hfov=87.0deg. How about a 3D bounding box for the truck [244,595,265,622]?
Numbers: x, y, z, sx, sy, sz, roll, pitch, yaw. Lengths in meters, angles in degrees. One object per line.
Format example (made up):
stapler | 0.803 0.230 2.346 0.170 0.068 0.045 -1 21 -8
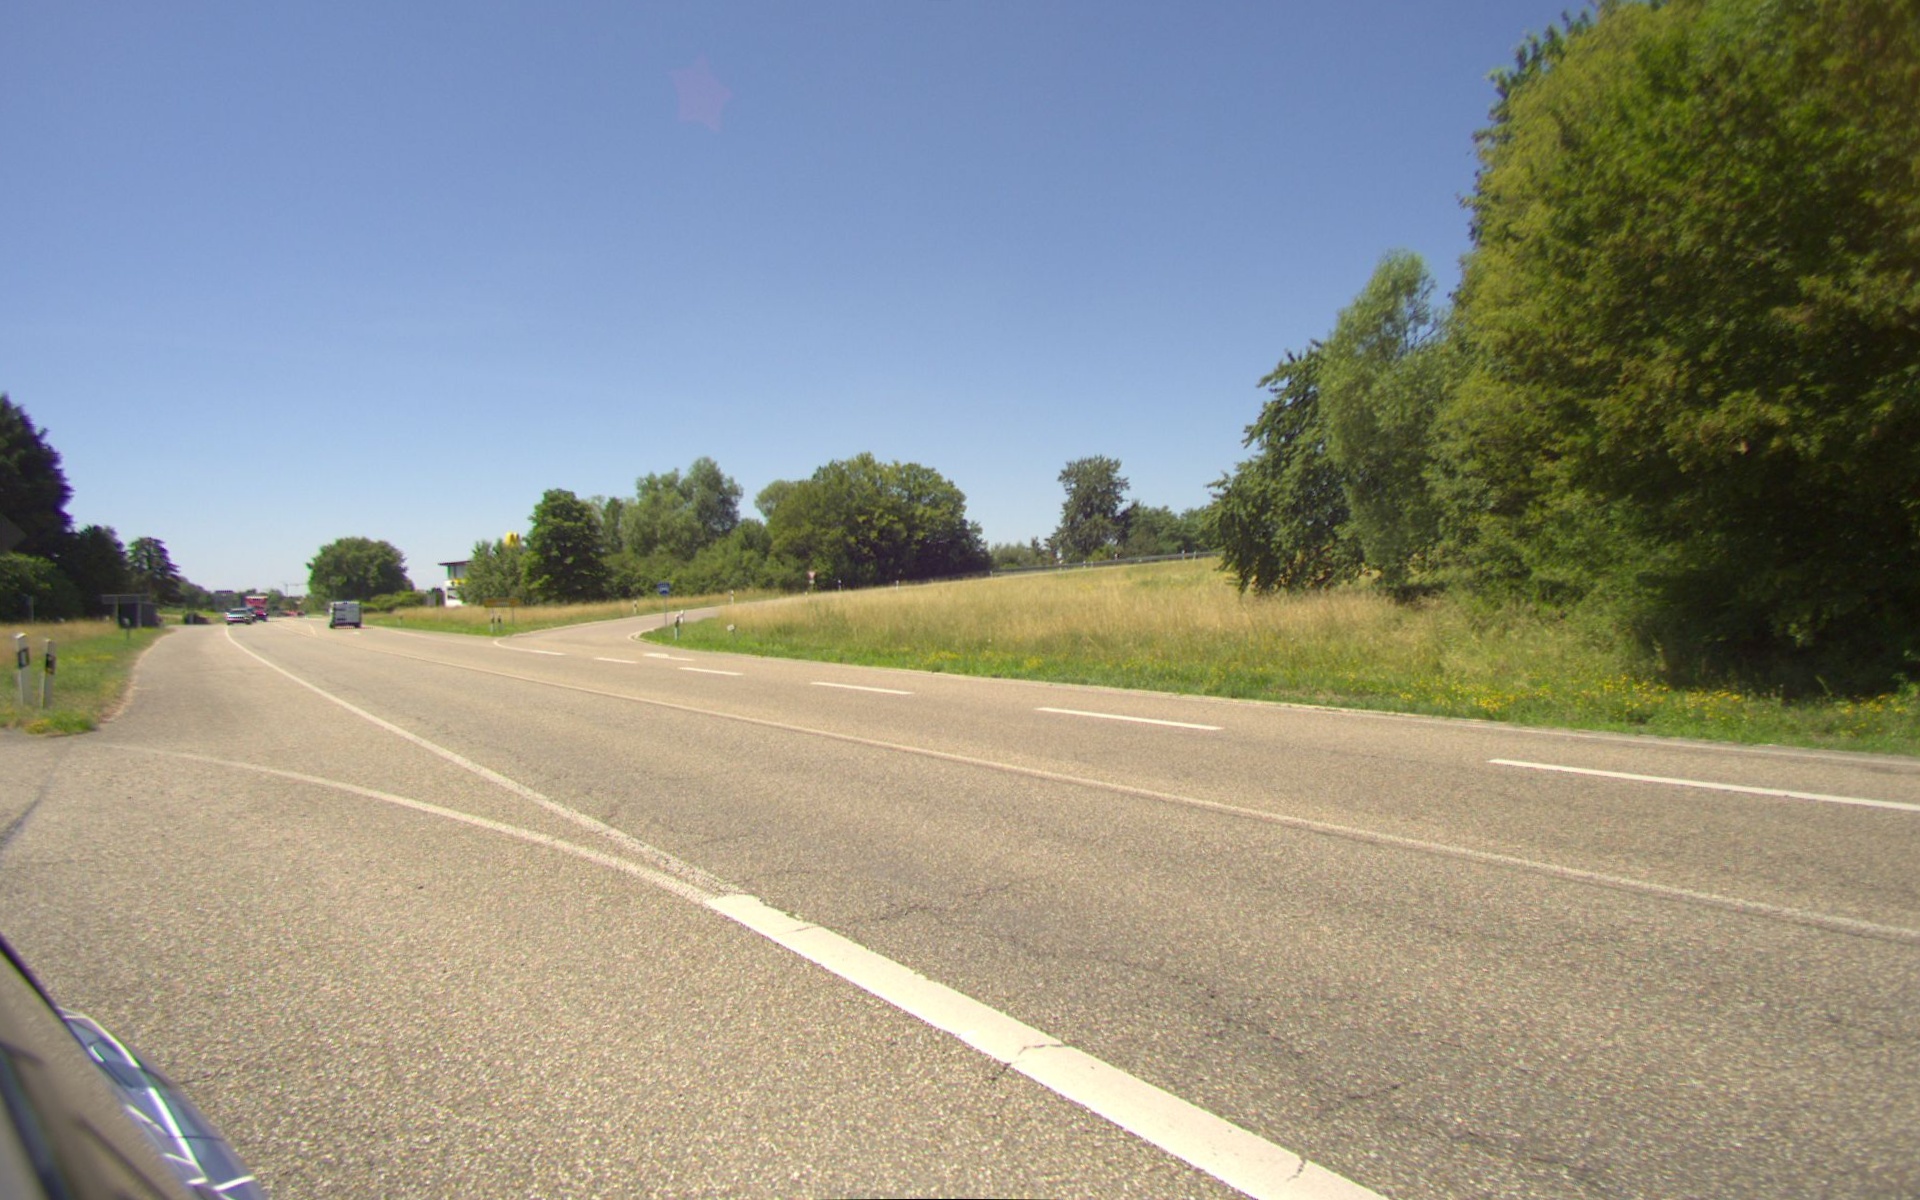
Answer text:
truck | -90.486 1.135 129.837 1.966 3.201 7.022 -1 -2 -33

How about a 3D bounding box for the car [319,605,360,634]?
car | -45.990 1.443 74.958 1.884 1.976 5.403 -1 -2 -39

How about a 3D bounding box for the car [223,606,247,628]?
car | -71.894 1.684 100.383 1.883 1.976 4.466 -1 -2 -36
